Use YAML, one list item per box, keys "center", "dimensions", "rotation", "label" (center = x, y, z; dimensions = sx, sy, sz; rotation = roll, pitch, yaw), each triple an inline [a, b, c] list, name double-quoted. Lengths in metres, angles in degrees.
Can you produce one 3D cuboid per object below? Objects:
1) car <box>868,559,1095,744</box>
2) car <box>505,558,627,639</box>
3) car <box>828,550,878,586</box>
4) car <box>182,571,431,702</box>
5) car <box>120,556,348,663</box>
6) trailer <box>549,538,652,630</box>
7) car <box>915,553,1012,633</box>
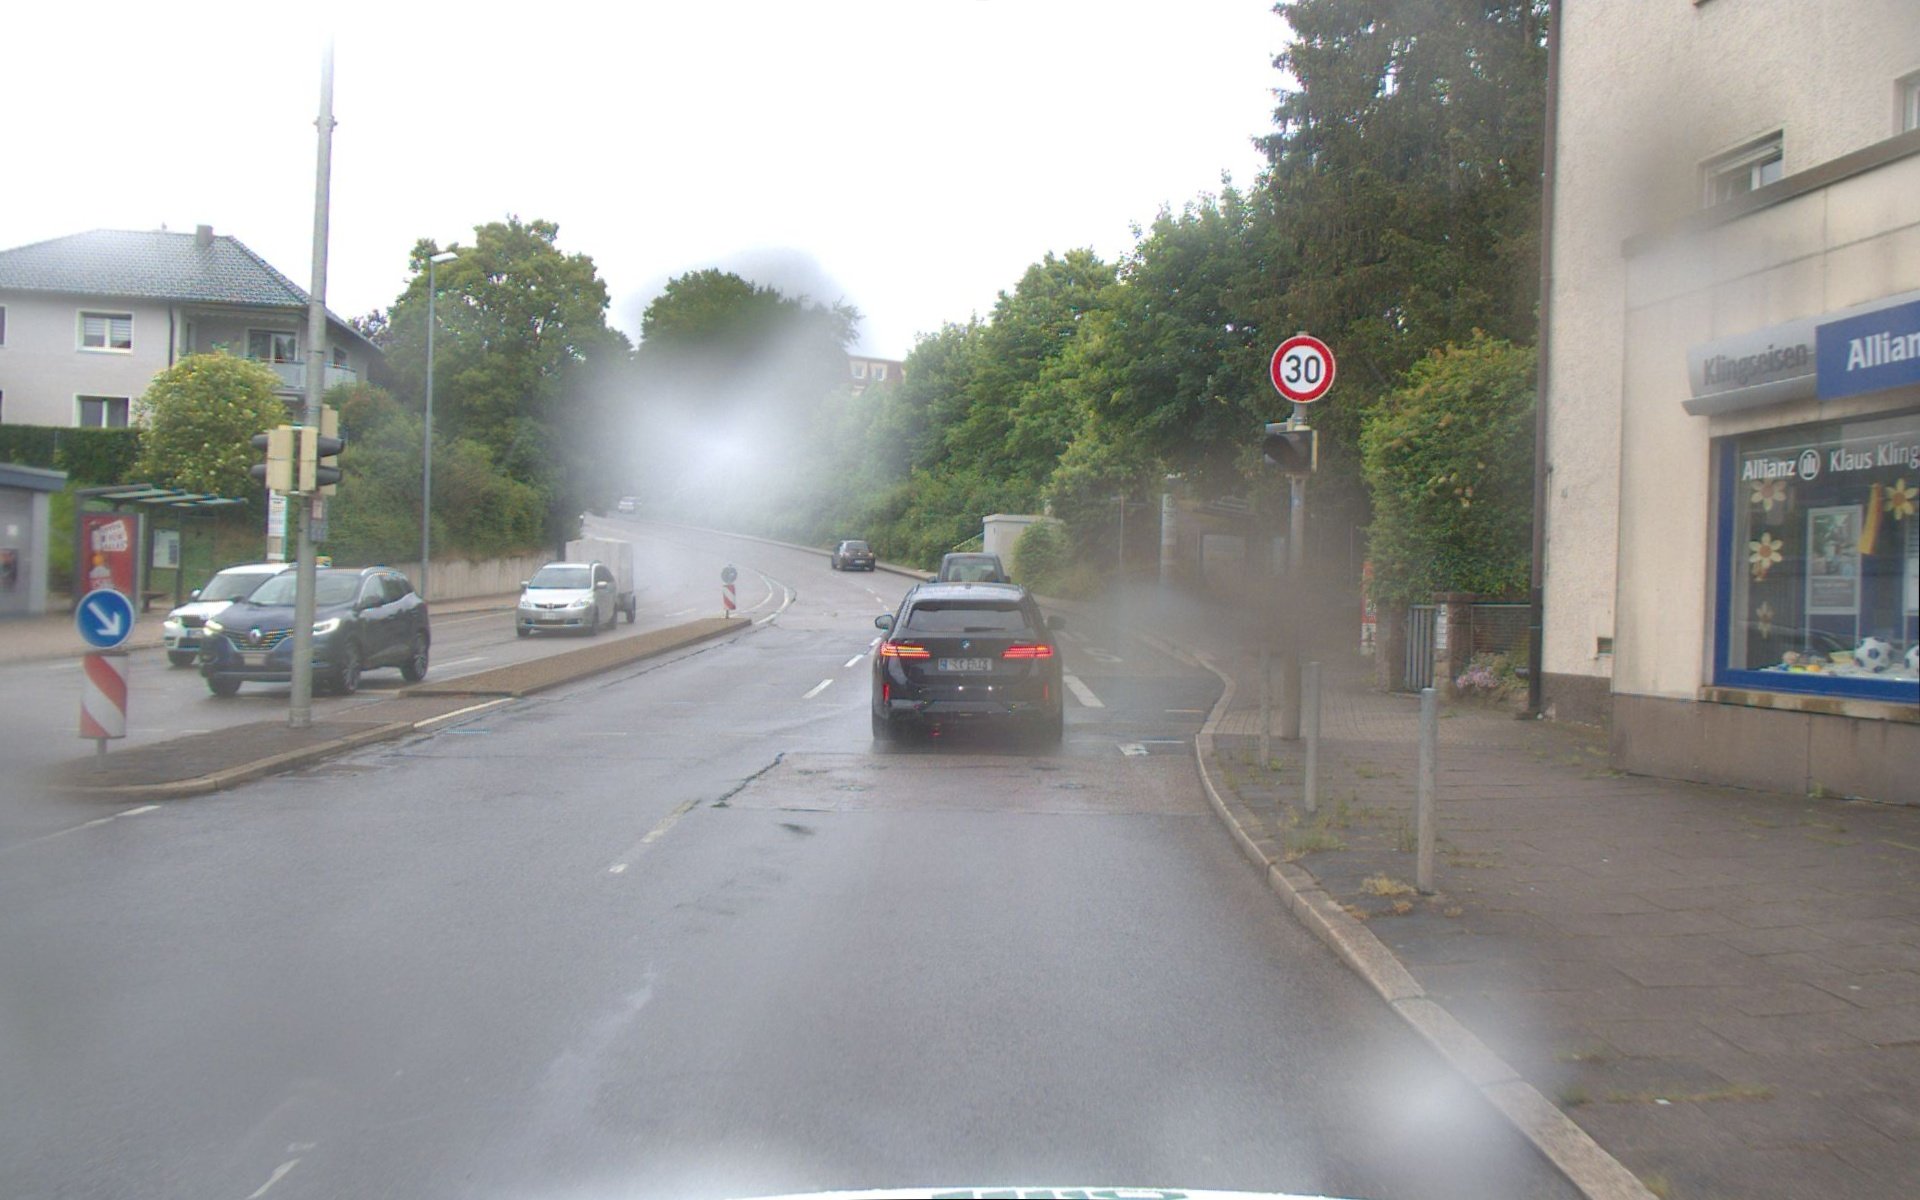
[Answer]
- center: [0.073, 0.529, 17.208]
  dimensions: [1.954, 1.614, 4.658]
  rotation: [1, -2, -4]
  label: "car"
- center: [-8.993, -0.087, 38.072]
  dimensions: [1.861, 1.712, 4.479]
  rotation: [0, 2, -2]
  label: "car"
- center: [-5.323, -1.608, 82.056]
  dimensions: [1.819, 1.691, 3.987]
  rotation: [1, 1, -13]
  label: "car"
- center: [-8.575, 0.434, 22.130]
  dimensions: [1.804, 1.579, 4.381]
  rotation: [0, 0, -3]
  label: "car"
- center: [-12.285, 0.145, 28.336]
  dimensions: [1.785, 1.686, 4.468]
  rotation: [0, 0, 2]
  label: "car"
- center: [-9.143, -0.405, 42.319]
  dimensions: [1.858, 2.217, 4.034]
  rotation: [0, 0, -2]
  label: "trailer"
- center: [0.026, -0.204, 39.087]
  dimensions: [1.954, 1.779, 3.997]
  rotation: [0, 1, -5]
  label: "car"
